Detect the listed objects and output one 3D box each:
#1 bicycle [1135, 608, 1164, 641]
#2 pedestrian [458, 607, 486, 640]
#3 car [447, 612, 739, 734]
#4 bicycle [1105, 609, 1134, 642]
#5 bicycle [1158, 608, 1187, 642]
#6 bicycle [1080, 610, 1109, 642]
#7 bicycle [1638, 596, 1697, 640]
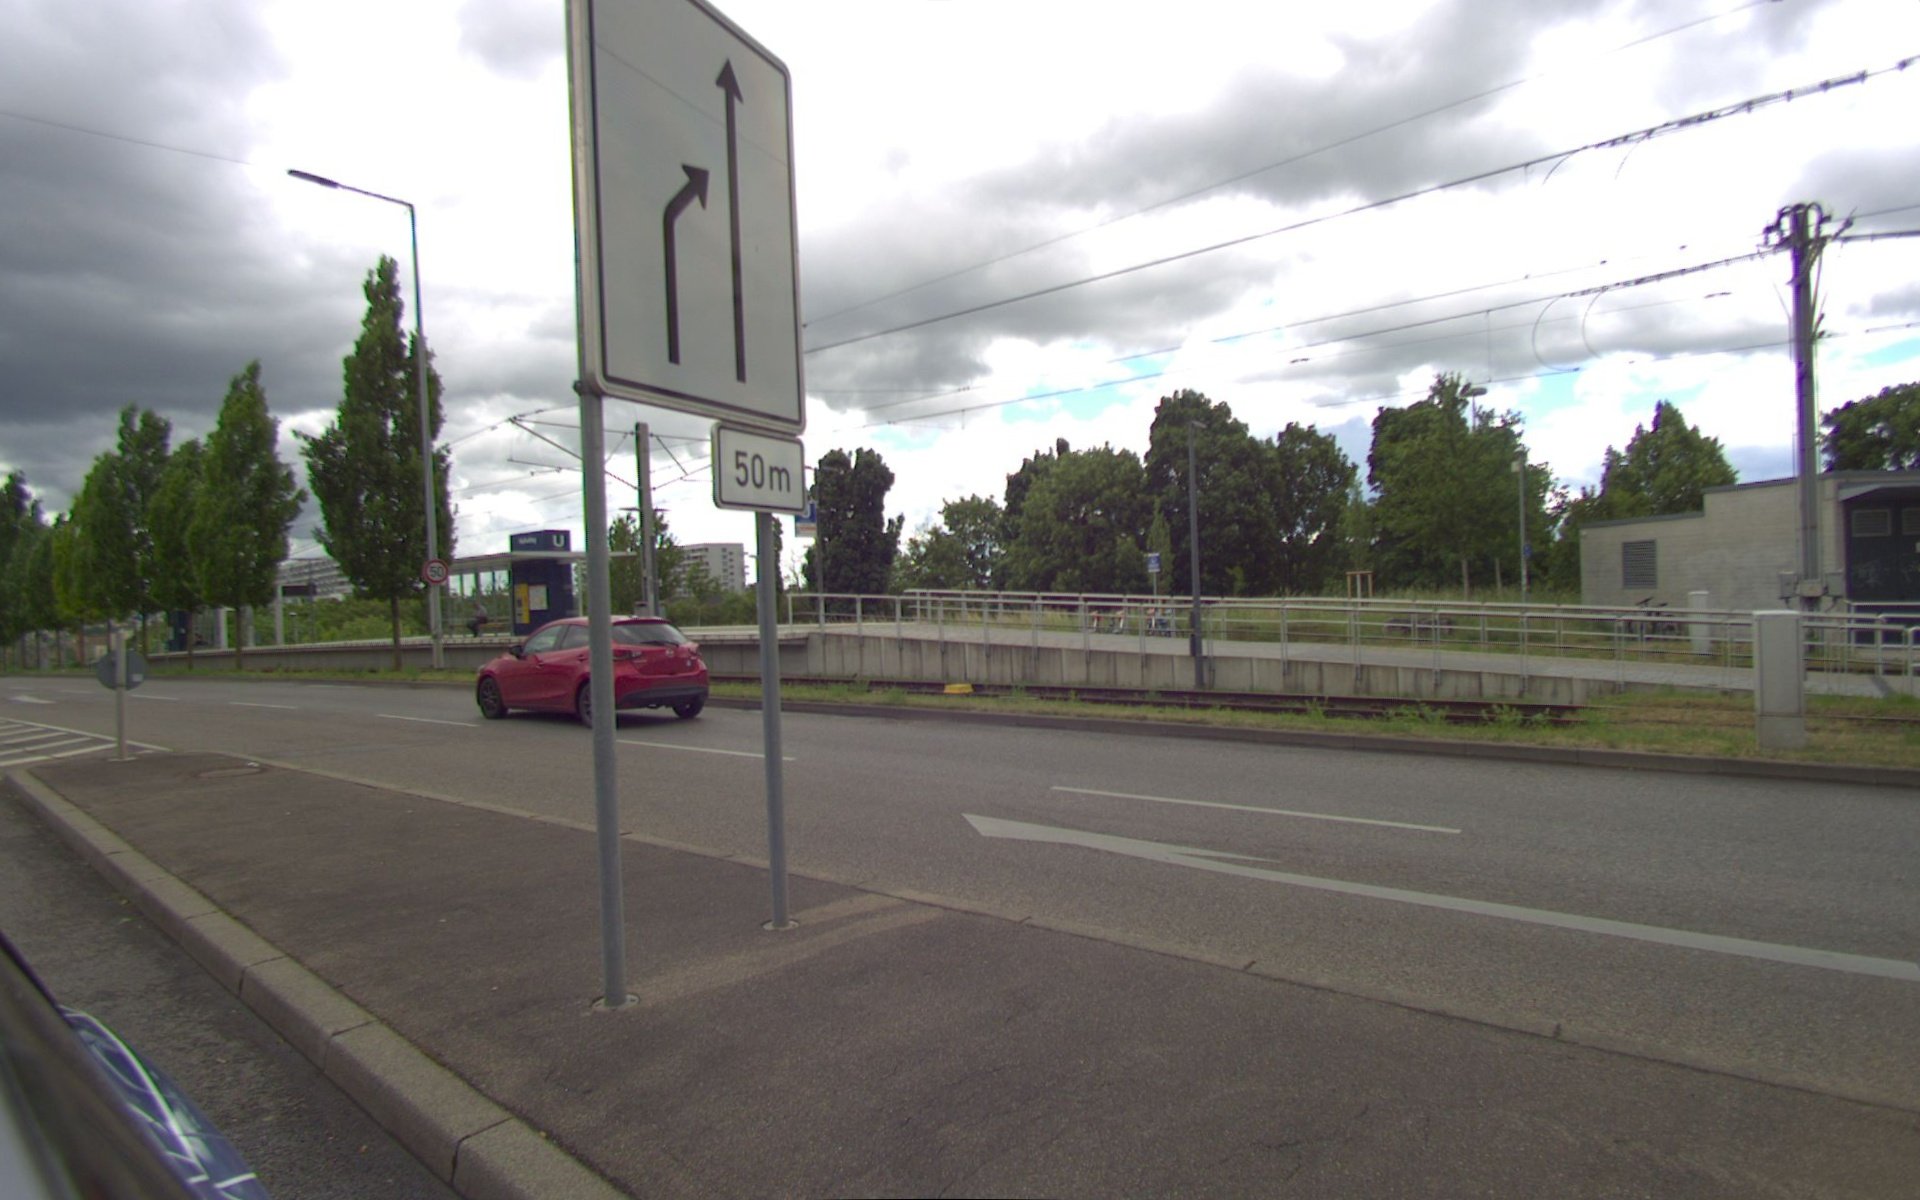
[{"bbox_3d":[6.375,0.814,33.937,0.490,1.095,1.466,-2,-1,30],"label":"bicycle"},{"bbox_3d":[-18.256,0.876,37.862,0.781,1.211,0.656,-2,-1,33],"label":"pedestrian"},{"bbox_3d":[-5.326,0.938,14.436,4.417,1.454,1.765,-1,0,36],"label":"car"},{"bbox_3d":[5.435,0.865,34.449,0.490,1.095,1.466,-2,-1,30],"label":"bicycle"},{"bbox_3d":[7.040,0.814,33.457,0.490,1.095,1.466,-2,-1,30],"label":"bicycle"},{"bbox_3d":[4.678,0.893,35.150,0.490,1.095,1.466,-2,-1,30],"label":"bicycle"},{"bbox_3d":[18.189,0.456,26.049,0.486,1.095,1.480,-1,-1,3],"label":"bicycle"}]
